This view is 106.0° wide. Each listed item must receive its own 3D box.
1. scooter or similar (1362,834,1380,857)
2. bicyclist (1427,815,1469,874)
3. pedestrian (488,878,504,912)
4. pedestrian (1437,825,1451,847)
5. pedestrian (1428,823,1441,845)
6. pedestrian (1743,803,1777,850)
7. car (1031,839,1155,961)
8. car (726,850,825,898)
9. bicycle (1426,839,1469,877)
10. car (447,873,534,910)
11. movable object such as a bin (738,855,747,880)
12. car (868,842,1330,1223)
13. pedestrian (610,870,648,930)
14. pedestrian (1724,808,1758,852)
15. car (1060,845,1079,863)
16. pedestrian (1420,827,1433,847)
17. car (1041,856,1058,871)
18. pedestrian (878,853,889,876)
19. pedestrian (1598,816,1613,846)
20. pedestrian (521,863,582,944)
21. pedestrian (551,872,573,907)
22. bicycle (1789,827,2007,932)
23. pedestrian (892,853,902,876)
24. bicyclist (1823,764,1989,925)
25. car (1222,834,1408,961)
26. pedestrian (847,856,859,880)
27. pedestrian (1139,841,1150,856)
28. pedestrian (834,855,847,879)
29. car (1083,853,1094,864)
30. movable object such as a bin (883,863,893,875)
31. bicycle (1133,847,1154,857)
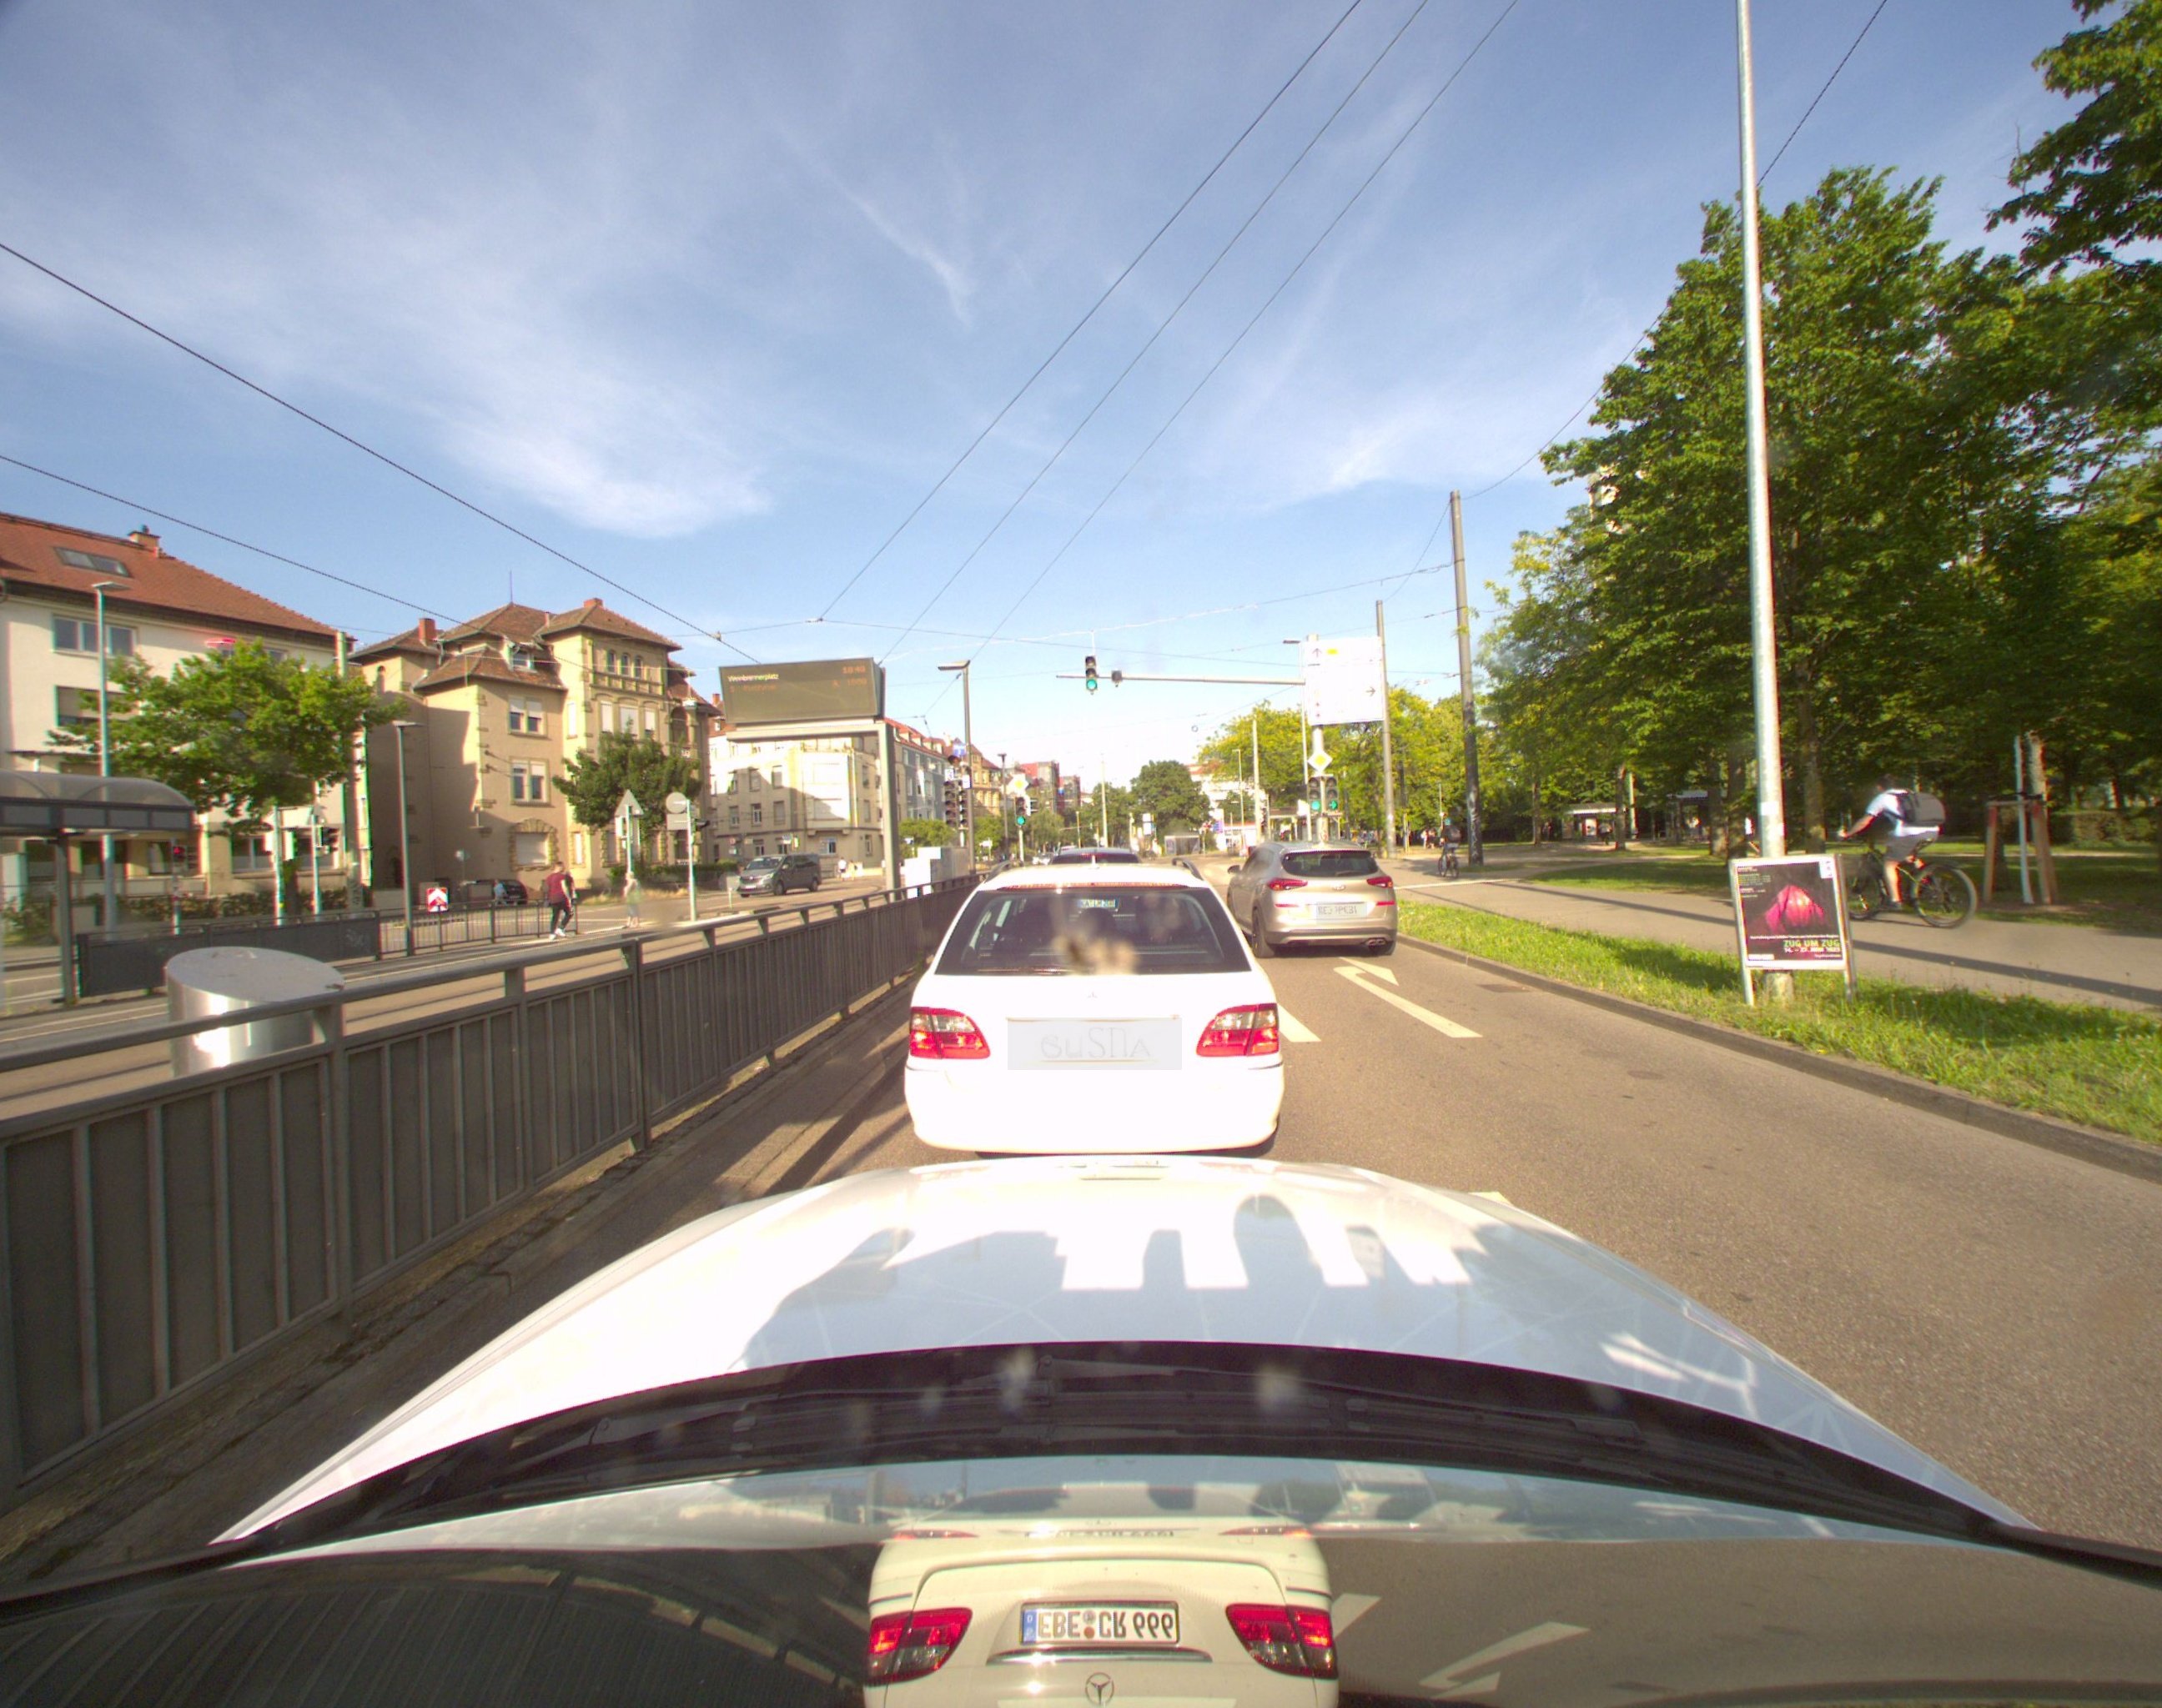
[{"bbox_3d":[16.118,-0.446,45.228,0.351,1.232,1.131,-3,0,-12],"label":"scooter or similar"},{"bbox_3d":[11.426,-0.286,25.369,0.716,1.745,1.142,-6,0,5],"label":"bicyclist"},{"bbox_3d":[-27.175,1.904,37.818,0.400,1.515,0.392,-3,0,28],"label":"pedestrian"},{"bbox_3d":[27.670,-1.350,62.078,0.638,1.665,0.691,-3,0,1],"label":"pedestrian"},{"bbox_3d":[27.445,-1.534,63.258,0.638,1.665,0.691,-3,0,1],"label":"pedestrian"},{"bbox_3d":[27.931,-1.099,33.494,0.668,1.897,0.880,-1,0,3],"label":"pedestrian"},{"bbox_3d":[0.223,0.610,12.830,1.635,1.600,3.817,-1,0,2],"label":"car"},{"bbox_3d":[-14.409,0.866,38.844,2.134,2.013,5.396,-3,0,6],"label":"car"},{"bbox_3d":[11.508,0.114,25.635,0.637,1.088,1.736,-5,0,6],"label":"bicycle"},{"bbox_3d":[-29.436,1.886,40.563,3.950,1.632,1.787,-3,1,26],"label":"car"},{"bbox_3d":[-23.724,0.968,57.058,0.265,1.709,2.360,-3,0,-29],"label":"movable object such as a bin"},{"bbox_3d":[0.130,0.713,5.186,1.828,1.501,3.817,-1,0,2],"label":"car"},{"bbox_3d":[-12.502,1.256,22.529,0.588,1.589,0.715,-3,0,-2],"label":"pedestrian"},{"bbox_3d":[26.805,-0.973,33.084,0.668,1.777,0.881,-1,0,3],"label":"pedestrian"},{"bbox_3d":[-1.606,-0.041,113.568,2.168,2.239,5.257,-3,0,3],"label":"car"},{"bbox_3d":[27.202,-1.334,64.112,0.638,1.610,0.691,-3,0,1],"label":"pedestrian"},{"bbox_3d":[-3.704,1.145,96.260,1.670,1.525,4.128,-3,1,3],"label":"car"},{"bbox_3d":[-16.626,0.911,68.617,0.581,1.881,0.627,-3,0,5],"label":"pedestrian"},{"bbox_3d":[32.959,-1.427,51.178,0.461,1.868,0.602,0,-1,-17],"label":"pedestrian"},{"bbox_3d":[-11.420,1.052,17.598,0.668,1.670,0.883,-3,0,-1],"label":"pedestrian"},{"bbox_3d":[-25.168,1.743,39.499,0.672,1.651,0.608,-3,0,28],"label":"pedestrian"},{"bbox_3d":[9.743,0.274,9.840,0.638,1.088,1.940,-5,0,1],"label":"bicycle"},{"bbox_3d":[-15.567,0.871,68.955,0.582,1.880,0.626,-3,1,-1],"label":"pedestrian"},{"bbox_3d":[9.707,-0.105,9.644,0.647,1.745,1.140,-6,0,1],"label":"bicyclist"},{"bbox_3d":[3.348,0.558,12.438,1.828,1.600,3.817,-1,0,2],"label":"car"},{"bbox_3d":[-18.039,1.077,64.351,0.672,1.848,0.649,-3,0,-1],"label":"pedestrian"},{"bbox_3d":[6.947,-0.584,88.982,0.998,1.591,0.870,-3,0,21],"label":"pedestrian"},{"bbox_3d":[-19.036,1.054,64.576,0.653,1.881,0.629,-3,0,16],"label":"pedestrian"},{"bbox_3d":[1.219,0.687,130.985,1.760,1.494,4.746,-3,2,1],"label":"car"},{"bbox_3d":[-16.449,1.296,69.438,0.580,0.947,0.664,-3,0,7],"label":"movable object such as a bin"},{"bbox_3d":[6.834,-0.230,89.051,2.000,0.947,0.884,-3,0,21],"label":"bicycle"}]
